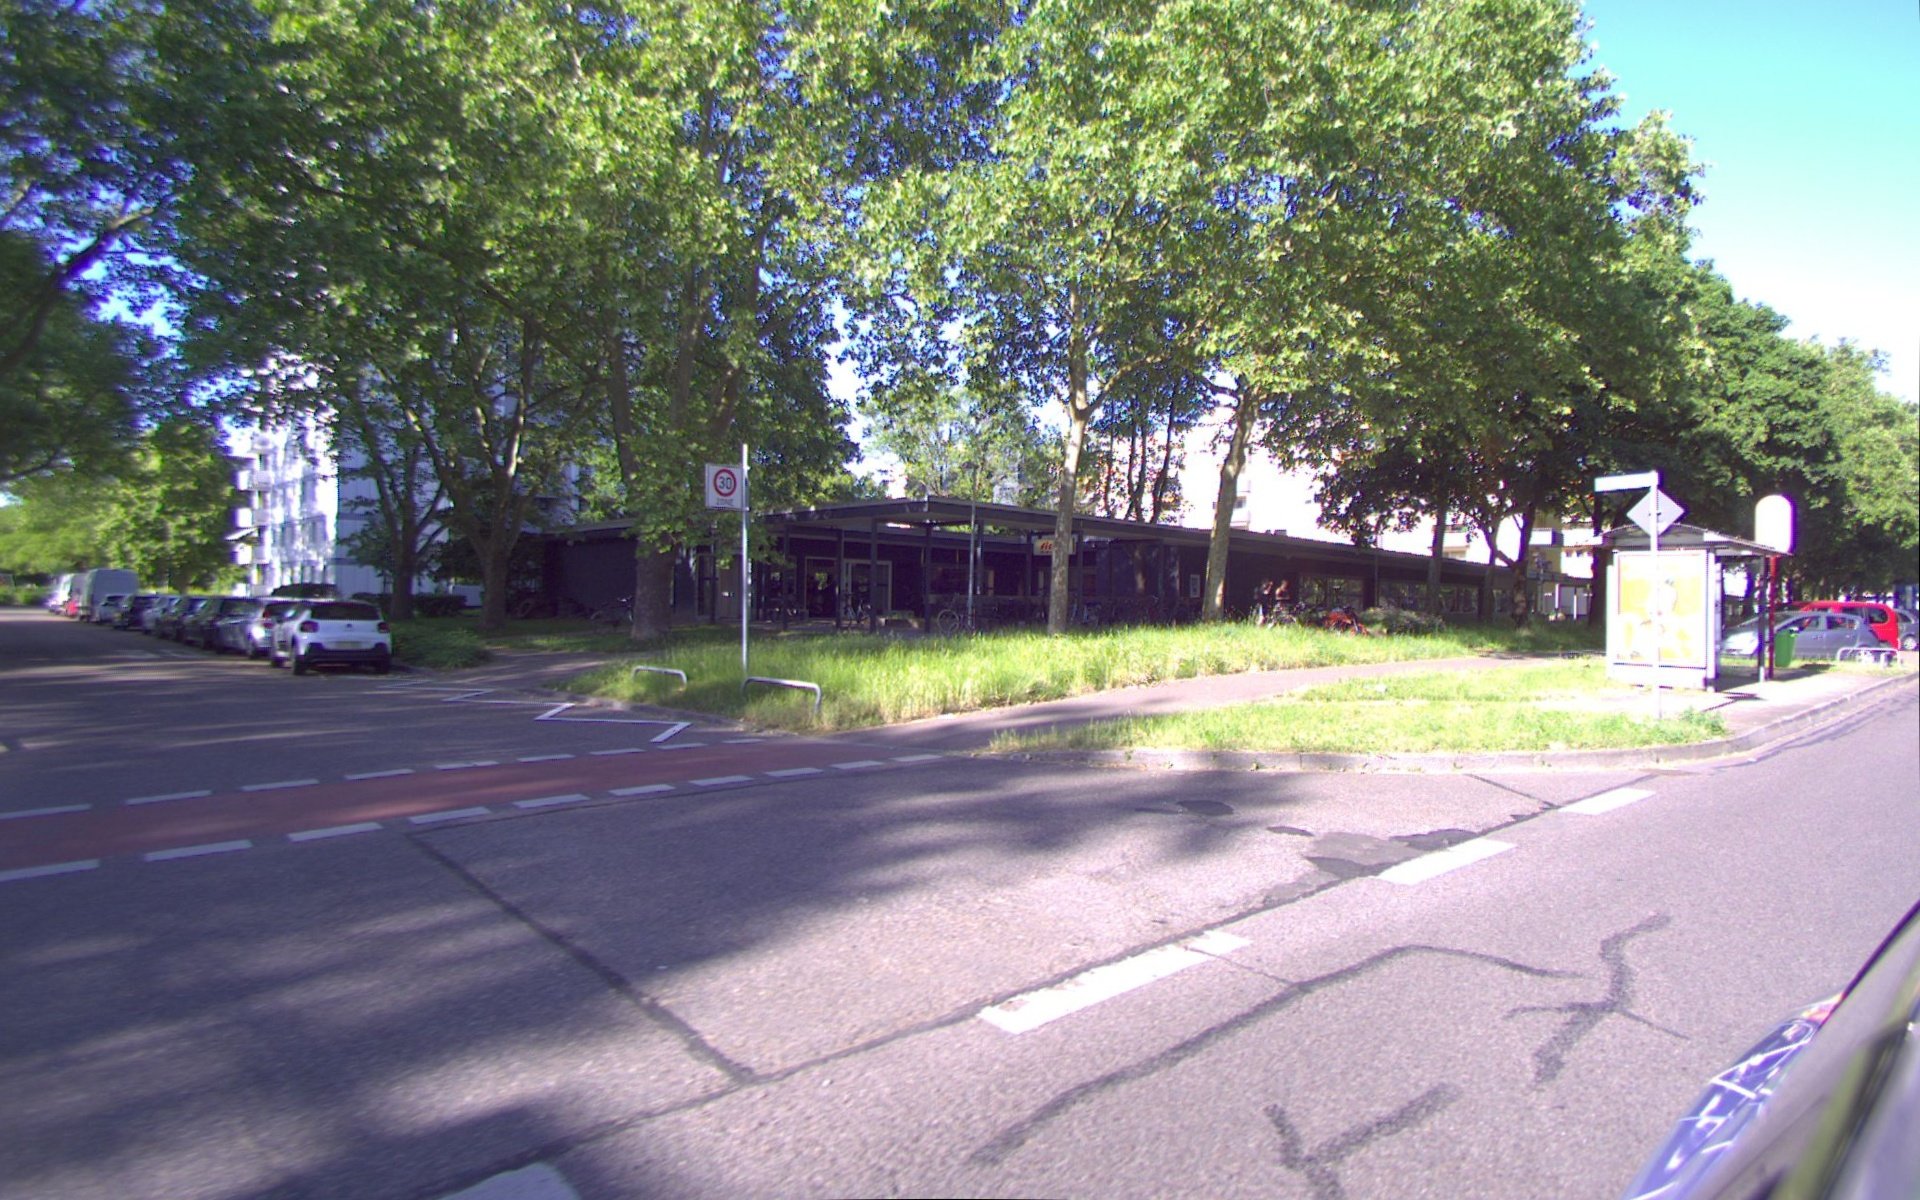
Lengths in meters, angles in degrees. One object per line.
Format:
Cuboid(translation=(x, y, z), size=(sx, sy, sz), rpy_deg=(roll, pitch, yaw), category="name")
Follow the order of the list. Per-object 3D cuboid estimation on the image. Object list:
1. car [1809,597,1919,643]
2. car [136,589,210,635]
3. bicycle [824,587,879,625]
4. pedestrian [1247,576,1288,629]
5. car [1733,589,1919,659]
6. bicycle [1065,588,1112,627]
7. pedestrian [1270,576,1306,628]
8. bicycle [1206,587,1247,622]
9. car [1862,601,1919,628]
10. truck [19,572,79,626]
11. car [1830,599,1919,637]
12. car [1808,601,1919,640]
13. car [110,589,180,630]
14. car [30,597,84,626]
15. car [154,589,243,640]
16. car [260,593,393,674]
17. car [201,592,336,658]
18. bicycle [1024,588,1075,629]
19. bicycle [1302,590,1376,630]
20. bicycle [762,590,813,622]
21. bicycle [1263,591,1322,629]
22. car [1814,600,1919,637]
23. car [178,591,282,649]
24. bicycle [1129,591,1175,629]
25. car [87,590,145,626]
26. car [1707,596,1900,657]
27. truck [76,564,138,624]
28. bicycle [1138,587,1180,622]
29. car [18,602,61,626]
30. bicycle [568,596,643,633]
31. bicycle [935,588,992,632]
Cuboid(translation=(35.339, 0.768, 39.012), size=(3.653, 1.610, 1.700), rpy_deg=(2, 1, 1), category="car")
Cuboid(translation=(-27.955, 0.431, 35.913), size=(3.578, 1.515, 1.559), rpy_deg=(-1, -3, 44), category="car")
Cuboid(translation=(-3.365, 0.174, 31.331), size=(1.799, 1.129, 0.700), rpy_deg=(1, 2, 42), category="bicycle")
Cuboid(translation=(10.267, 0.085, 33.763), size=(1.124, 1.729, 0.723), rpy_deg=(0, 0, 36), category="pedestrian")
Cuboid(translation=(25.546, 0.673, 29.918), size=(3.880, 1.865, 1.767), rpy_deg=(1, 1, 4), category="car")
Cuboid(translation=(4.349, 0.249, 34.169), size=(1.775, 1.269, 0.576), rpy_deg=(0, -1, -43), category="bicycle")
Cuboid(translation=(11.812, 0.062, 36.436), size=(0.963, 1.863, 0.939), rpy_deg=(0, 0, 40), category="pedestrian")
Cuboid(translation=(9.921, 0.177, 37.639), size=(1.775, 1.269, 0.576), rpy_deg=(0, -1, -43), category="bicycle")
Cuboid(translation=(54.373, 0.841, 57.329), size=(4.589, 1.443, 2.000), rpy_deg=(2, 1, 2), category="car")
Cuboid(translation=(-54.541, -0.030, 60.546), size=(5.161, 3.018, 1.887), rpy_deg=(0, -3, 40), category="truck")
Cuboid(translation=(43.142, 0.817, 46.662), size=(4.227, 1.697, 1.865), rpy_deg=(0, -1, 6), category="car")
Cuboid(translation=(37.585, 0.850, 41.531), size=(4.011, 1.420, 1.686), rpy_deg=(2, 1, 2), category="car")
Cuboid(translation=(-32.218, 0.397, 39.985), size=(3.578, 1.515, 1.642), rpy_deg=(-1, -3, 44), category="car")
Cuboid(translation=(-49.297, 0.627, 55.237), size=(3.574, 1.515, 1.643), rpy_deg=(0, -3, 40), category="car")
Cuboid(translation=(-24.127, 0.462, 32.031), size=(3.577, 1.515, 1.602), rpy_deg=(-1, -3, 43), category="car")
Cuboid(translation=(-13.203, 0.645, 21.017), size=(1.680, 1.515, 3.733), rpy_deg=(2, -1, -42), category="car")
Cuboid(translation=(-17.271, 0.609, 25.215), size=(3.964, 1.515, 1.644), rpy_deg=(0, -3, 39), category="car")
Cuboid(translation=(2.899, 0.263, 32.727), size=(1.775, 1.269, 0.576), rpy_deg=(0, -1, -43), category="bicycle")
Cuboid(translation=(11.605, 0.289, 31.046), size=(2.063, 1.172, 0.554), rpy_deg=(2, 1, 39), category="bicycle")
Cuboid(translation=(-5.738, 0.190, 33.657), size=(1.800, 0.967, 0.700), rpy_deg=(3, 2, 42), category="bicycle")
Cuboid(translation=(10.917, 0.321, 33.301), size=(0.550, 1.172, 2.077), rpy_deg=(1, 1, -26), category="bicycle")
Cuboid(translation=(40.114, 0.812, 44.505), size=(3.513, 1.438, 1.709), rpy_deg=(2, 2, 6), category="car")
Cuboid(translation=(-20.371, 0.568, 28.188), size=(3.576, 1.515, 1.598), rpy_deg=(-1, -3, 42), category="car")
Cuboid(translation=(6.493, 0.326, 34.224), size=(1.775, 1.269, 0.576), rpy_deg=(0, -1, -43), category="bicycle")
Cuboid(translation=(-38.758, 0.381, 46.454), size=(3.579, 1.515, 1.641), rpy_deg=(-1, -3, 45), category="car")
Cuboid(translation=(22.814, 0.694, 27.489), size=(3.762, 1.491, 1.516), rpy_deg=(1, 1, 6), category="car")
Cuboid(translation=(-43.185, -0.254, 51.179), size=(1.883, 2.855, 5.170), rpy_deg=(3, -3, -45), category="truck")
Cuboid(translation=(7.380, 0.145, 37.445), size=(1.775, 1.269, 0.576), rpy_deg=(0, -1, -43), category="bicycle")
Cuboid(translation=(-61.129, 0.949, 67.183), size=(3.574, 1.515, 1.643), rpy_deg=(0, -3, 40), category="car")
Cuboid(translation=(-10.896, 0.430, 31.188), size=(0.504, 0.972, 2.163), rpy_deg=(1, 4, 42), category="bicycle")
Cuboid(translation=(0.111, 0.290, 29.948), size=(1.775, 1.269, 0.576), rpy_deg=(0, -1, -43), category="bicycle")
